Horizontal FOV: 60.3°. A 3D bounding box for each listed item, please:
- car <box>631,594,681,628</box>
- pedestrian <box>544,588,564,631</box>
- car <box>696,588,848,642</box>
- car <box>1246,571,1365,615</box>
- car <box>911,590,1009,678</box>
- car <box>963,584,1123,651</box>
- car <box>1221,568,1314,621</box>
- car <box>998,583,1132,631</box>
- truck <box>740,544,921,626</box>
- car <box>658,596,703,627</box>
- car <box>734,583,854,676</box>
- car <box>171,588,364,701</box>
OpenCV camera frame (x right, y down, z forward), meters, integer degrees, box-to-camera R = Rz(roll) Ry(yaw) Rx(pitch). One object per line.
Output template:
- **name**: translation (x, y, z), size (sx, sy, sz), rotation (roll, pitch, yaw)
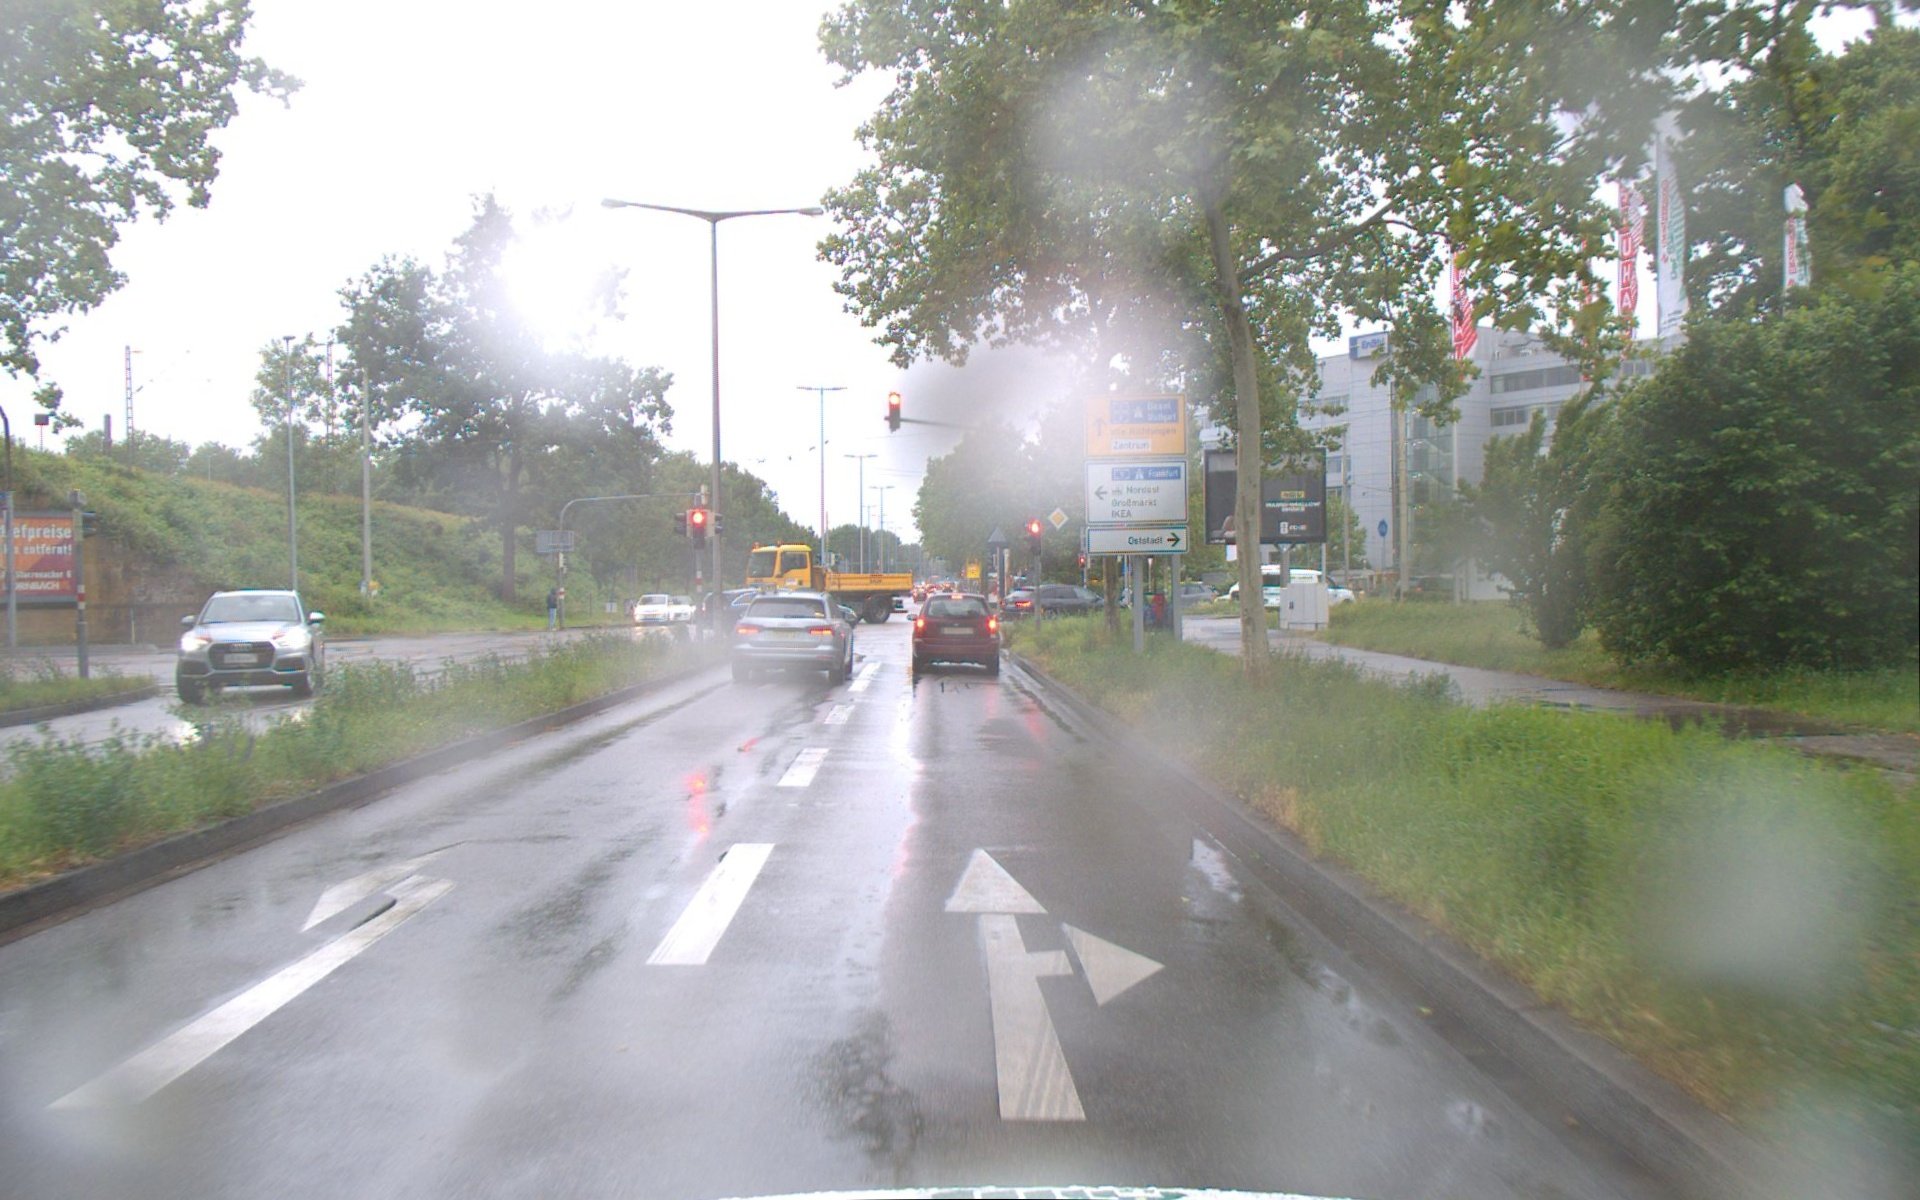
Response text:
- **car**: translation (-14.464, 0.508, 78.913), size (1.678, 1.557, 3.999), rotation (-1, 0, -1)
- **pedestrian**: translation (-17.092, 0.408, 69.713), size (0.522, 1.817, 0.673), rotation (0, -1, 17)
- **car**: translation (-5.784, 0.436, 50.974), size (4.327, 1.564, 1.784), rotation (-1, 0, -30)
- **car**: translation (13.043, -0.259, 62.298), size (4.327, 1.564, 1.784), rotation (-1, 0, -30)
- **car**: translation (-0.034, 0.622, 32.368), size (1.760, 1.564, 4.386), rotation (1, 0, -1)
- **car**: translation (2.299, 0.430, 45.046), size (4.348, 1.563, 1.775), rotation (-4, 3, -41)
- **car**: translation (14.563, -0.276, 78.217), size (4.339, 2.228, 1.779), rotation (-4, 1, -36)
- **car**: translation (3.564, 0.214, 56.191), size (4.327, 1.564, 1.784), rotation (0, 0, -30)
- **truck**: translation (-5.105, -0.597, 66.008), size (6.977, 3.107, 2.611), rotation (-1, 0, -38)
- **car**: translation (-14.389, 0.573, 85.452), size (1.678, 1.557, 3.999), rotation (-1, 0, -1)
- **car**: translation (-2.767, 0.466, 28.333), size (1.656, 1.458, 4.573), rotation (0, 0, -1)
- **car**: translation (-10.971, 0.657, 26.527), size (1.823, 1.617, 4.508), rotation (-1, 0, -9)
